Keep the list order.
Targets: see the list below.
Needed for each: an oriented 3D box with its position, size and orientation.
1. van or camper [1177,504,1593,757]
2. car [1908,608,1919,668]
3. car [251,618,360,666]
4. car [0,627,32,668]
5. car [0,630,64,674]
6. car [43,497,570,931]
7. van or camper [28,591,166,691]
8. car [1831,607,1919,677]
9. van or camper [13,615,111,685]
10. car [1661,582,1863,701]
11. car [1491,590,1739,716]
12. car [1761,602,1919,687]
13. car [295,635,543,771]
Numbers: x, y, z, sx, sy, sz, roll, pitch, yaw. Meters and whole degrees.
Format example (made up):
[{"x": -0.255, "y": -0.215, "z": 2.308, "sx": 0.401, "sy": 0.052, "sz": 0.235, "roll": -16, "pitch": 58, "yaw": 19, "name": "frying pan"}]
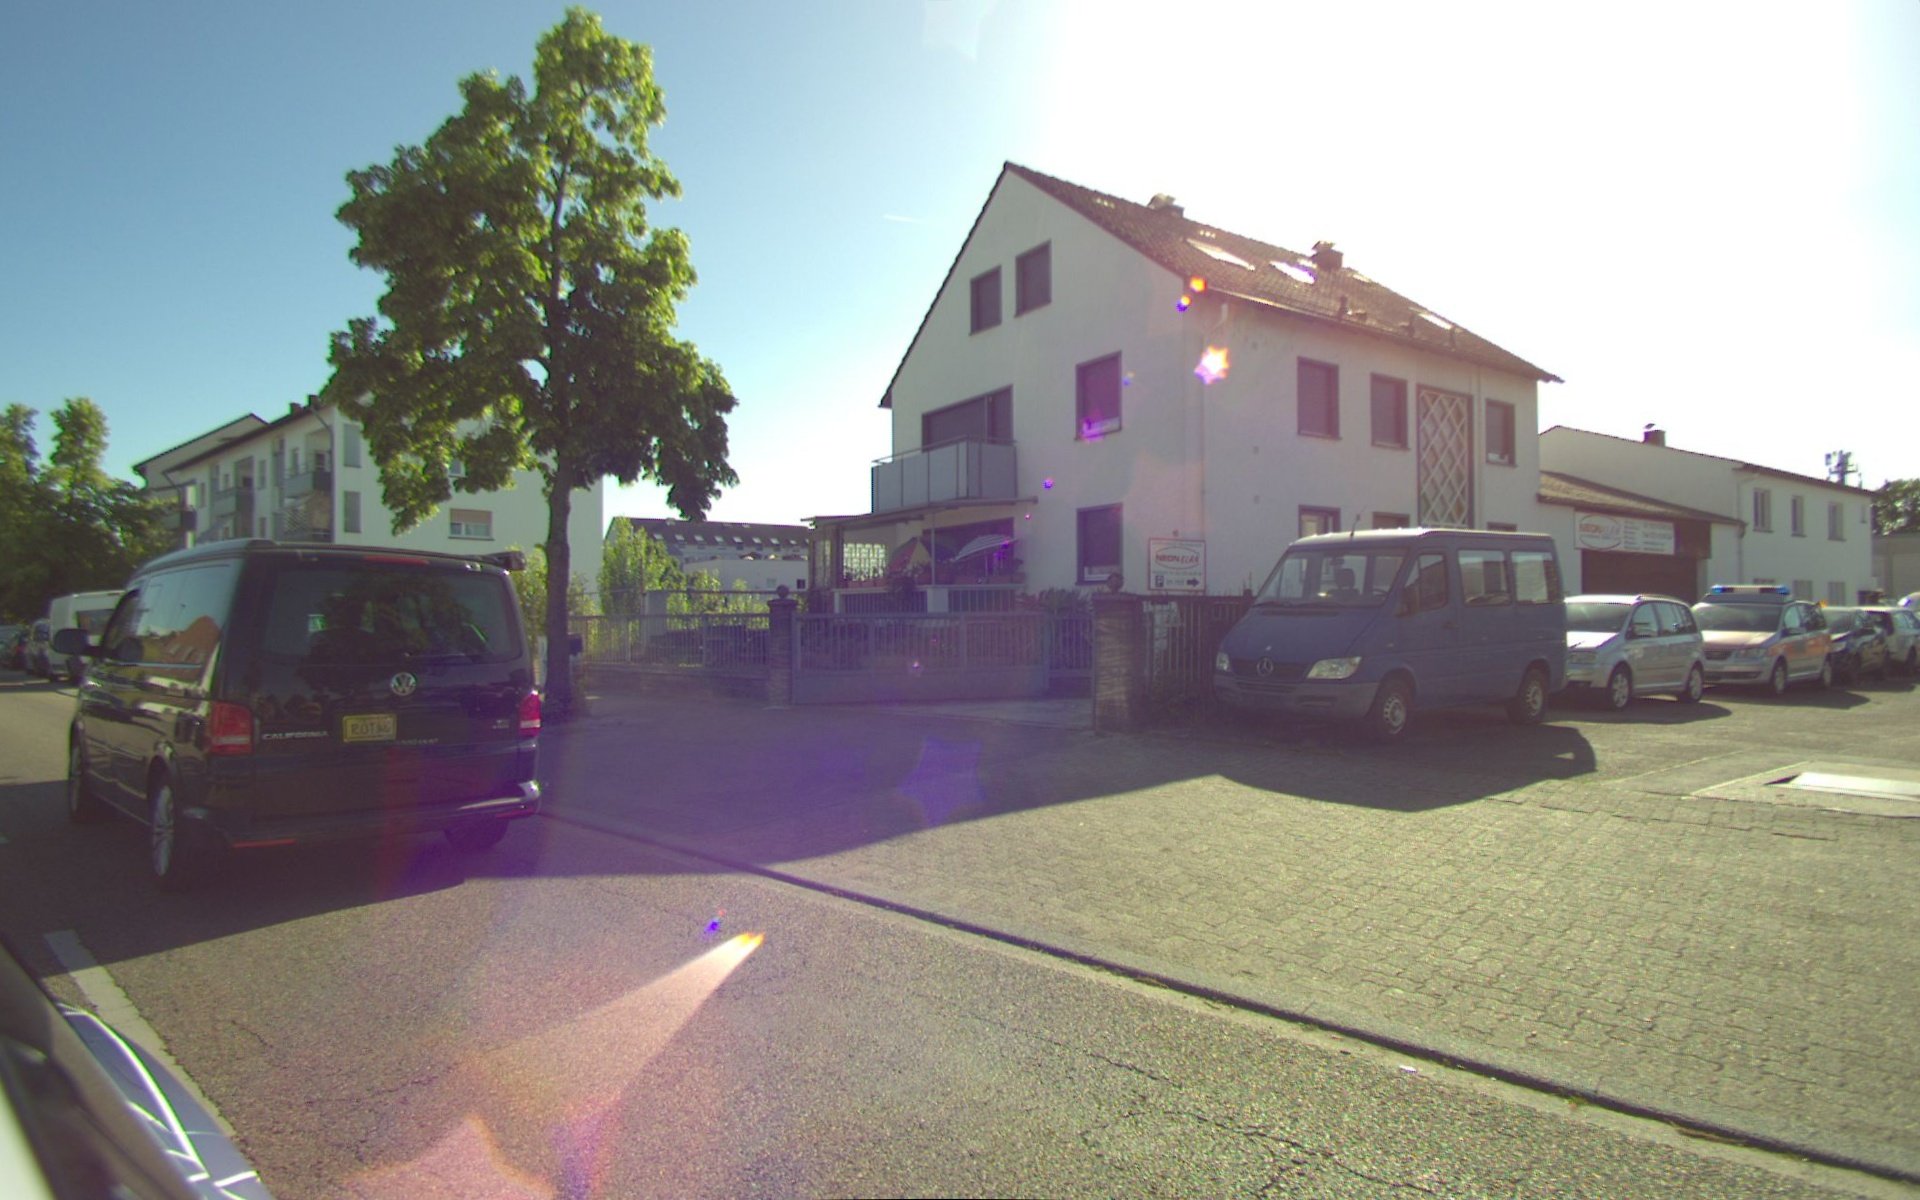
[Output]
[{"x": 5.021, "y": 0.269, "z": 11.706, "sx": 4.828, "sy": 2.337, "sz": 2.249, "roll": -1, "pitch": 0, "yaw": -36, "name": "van or camper"}, {"x": 25.602, "y": 0.926, "z": 25.684, "sx": 3.812, "sy": 1.487, "sz": 1.506, "roll": 0, "pitch": -1, "yaw": -35, "name": "car"}, {"x": -23.183, "y": 1.439, "z": 36.056, "sx": 1.589, "sy": 1.525, "sz": 4.396, "roll": -1, "pitch": -1, "yaw": -9, "name": "car"}, {"x": -39.513, "y": 1.953, "z": 41.667, "sx": 3.908, "sy": 1.577, "sz": 1.674, "roll": -2, "pitch": 2, "yaw": 44, "name": "car"}, {"x": -34.565, "y": 1.891, "z": 37.448, "sx": 4.312, "sy": 1.446, "sz": 1.592, "roll": -2, "pitch": 0, "yaw": 42, "name": "car"}, {"x": -4.814, "y": 0.606, "z": 7.106, "sx": 4.816, "sy": 2.047, "sz": 1.874, "roll": -1, "pitch": -3, "yaw": 42, "name": "car"}, {"x": -24.720, "y": 1.143, "z": 28.915, "sx": 5.552, "sy": 2.508, "sz": 2.101, "roll": -2, "pitch": 1, "yaw": 41, "name": "van or camper"}, {"x": 21.139, "y": 0.894, "z": 22.677, "sx": 3.988, "sy": 1.443, "sz": 1.506, "roll": 0, "pitch": -1, "yaw": -35, "name": "car"}, {"x": -29.152, "y": 1.564, "z": 32.809, "sx": 4.278, "sy": 2.029, "sz": 1.858, "roll": -2, "pitch": 1, "yaw": 42, "name": "van or camper"}, {"x": 14.041, "y": 0.662, "z": 17.658, "sx": 3.988, "sy": 1.849, "sz": 1.683, "roll": 0, "pitch": -1, "yaw": -35, "name": "car"}, {"x": 9.579, "y": 0.688, "z": 14.723, "sx": 3.929, "sy": 1.591, "sz": 1.683, "roll": 1, "pitch": 0, "yaw": -35, "name": "car"}, {"x": 17.740, "y": 0.830, "z": 20.325, "sx": 3.988, "sy": 1.556, "sz": 1.506, "roll": 0, "pitch": -1, "yaw": -35, "name": "car"}, {"x": -7.411, "y": 1.250, "z": 13.671, "sx": 4.209, "sy": 1.446, "sz": 1.668, "roll": -2, "pitch": 1, "yaw": 44, "name": "car"}]
